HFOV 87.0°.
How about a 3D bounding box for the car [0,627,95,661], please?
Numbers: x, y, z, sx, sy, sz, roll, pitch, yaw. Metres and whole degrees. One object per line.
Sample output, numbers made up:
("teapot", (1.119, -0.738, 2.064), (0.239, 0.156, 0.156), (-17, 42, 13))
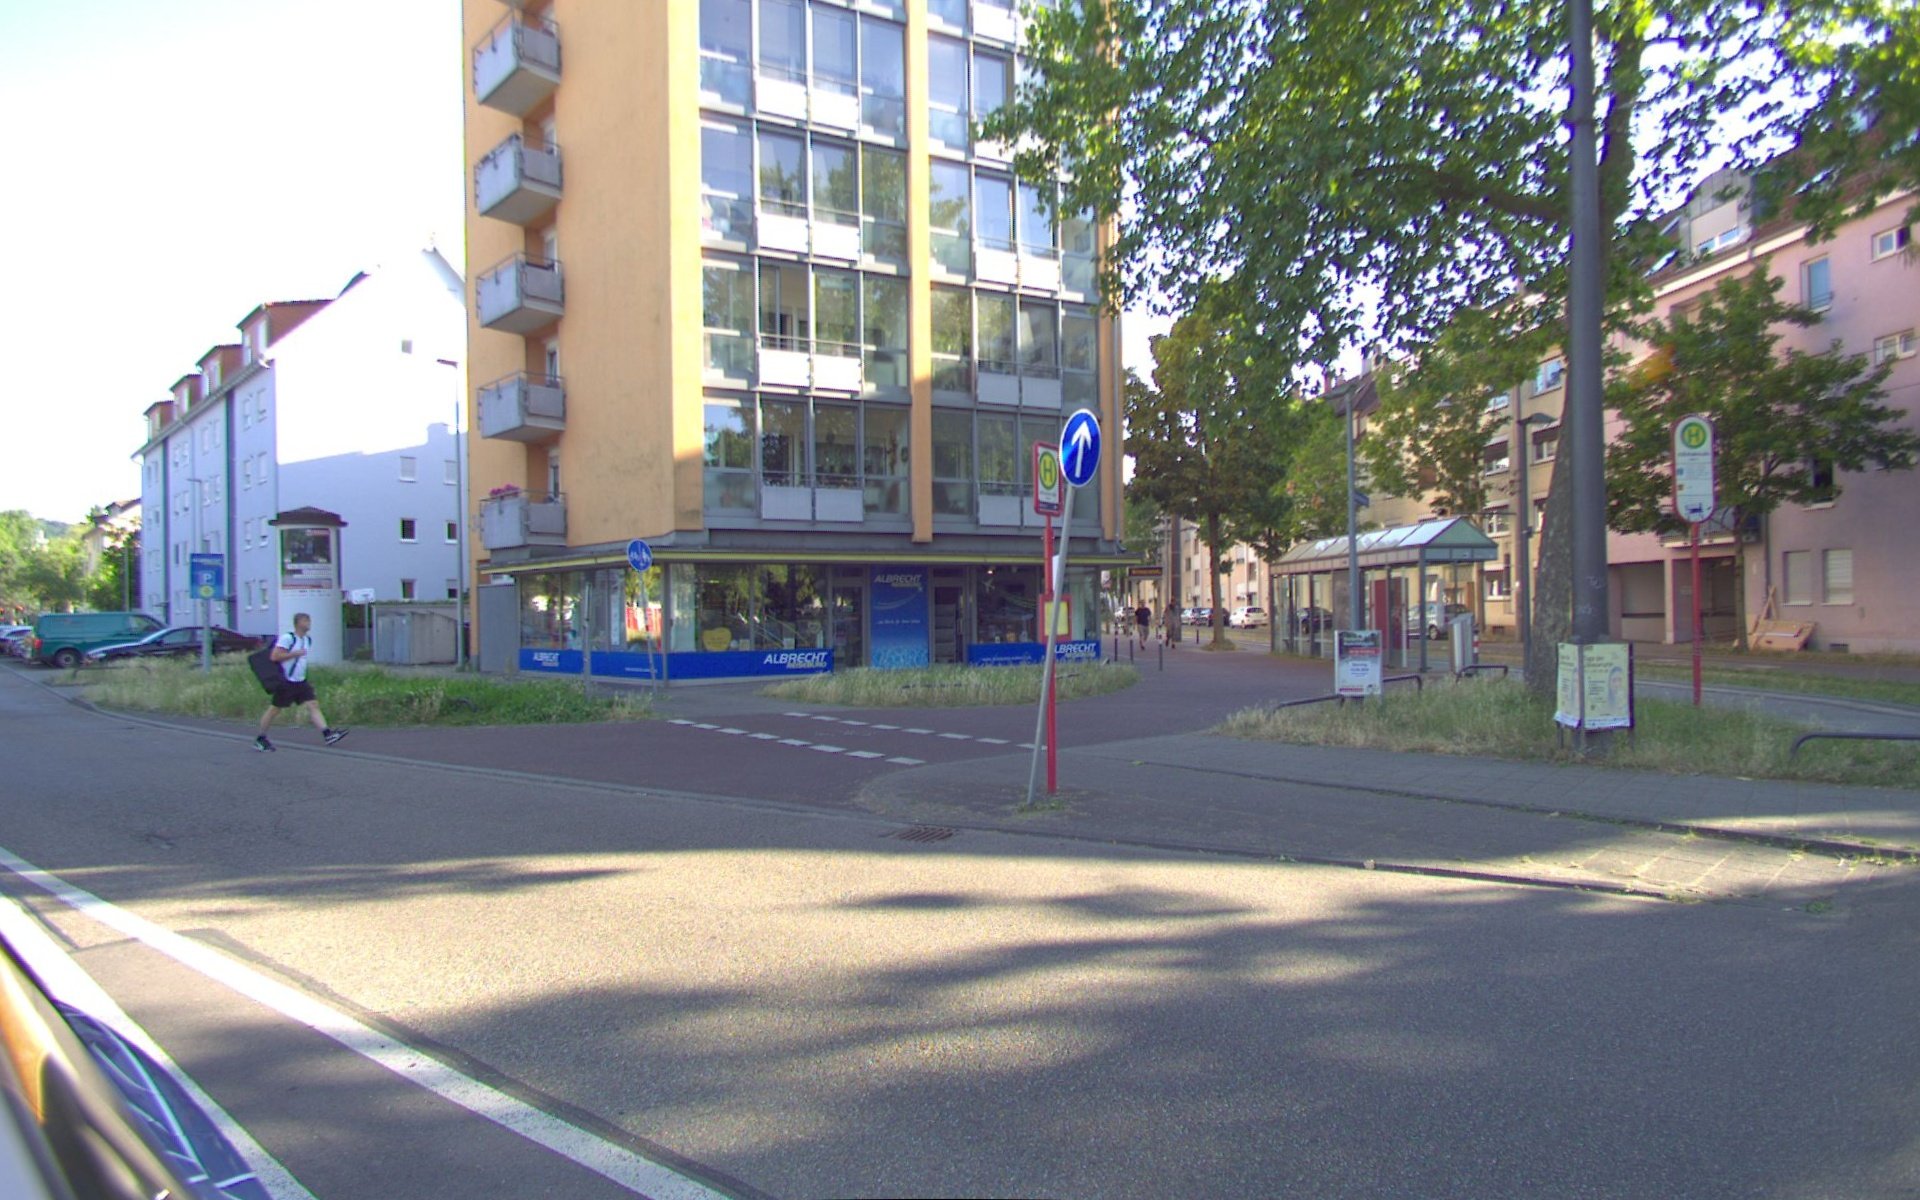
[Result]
("car", (-48.119, 2.279, 52.958), (4.199, 1.585, 1.867), (-1, 0, -44))

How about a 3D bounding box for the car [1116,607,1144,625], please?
("car", (17.737, 1.637, 105.545), (1.911, 1.719, 4.372), (-1, 0, -3))

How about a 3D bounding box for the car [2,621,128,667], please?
("car", (-38.826, 1.869, 43.930), (4.016, 1.765, 1.900), (-1, 0, -44))

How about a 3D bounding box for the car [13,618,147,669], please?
("car", (-35.119, 1.678, 40.434), (3.941, 1.829, 2.001), (-1, 0, -44))

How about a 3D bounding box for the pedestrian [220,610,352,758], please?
("pedestrian", (-8.367, 1.004, 12.581), (1.080, 1.750, 0.897), (-1, 0, 19))

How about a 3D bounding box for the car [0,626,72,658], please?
("car", (-55.791, 2.477, 60.436), (4.016, 1.765, 1.900), (-1, 0, -44))

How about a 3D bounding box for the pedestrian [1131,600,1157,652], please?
("pedestrian", (6.302, 0.885, 34.747), (0.803, 1.763, 0.538), (-1, 0, 6))

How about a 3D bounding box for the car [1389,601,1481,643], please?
("car", (20.747, 0.908, 44.431), (1.911, 1.719, 4.115), (-1, 0, -3))

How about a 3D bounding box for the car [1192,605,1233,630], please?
("car", (18.706, 1.267, 75.156), (1.808, 1.719, 4.059), (-1, 0, -3))

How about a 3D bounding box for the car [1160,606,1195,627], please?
("car", (18.433, 1.393, 85.800), (1.830, 1.719, 4.170), (-1, 0, -3))

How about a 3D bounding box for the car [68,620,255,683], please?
("car", (-24.271, 1.512, 30.866), (4.361, 1.674, 2.003), (-1, 0, -41))

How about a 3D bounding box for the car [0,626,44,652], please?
("car", (-63.494, 2.609, 66.995), (4.199, 1.585, 1.867), (-1, 0, -44))

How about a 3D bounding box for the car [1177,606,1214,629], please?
("car", (18.644, 1.351, 80.346), (1.771, 1.719, 4.170), (-1, 0, -3))

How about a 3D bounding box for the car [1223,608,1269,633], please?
("car", (19.173, 1.347, 68.051), (1.741, 1.588, 4.049), (-1, 0, -3))

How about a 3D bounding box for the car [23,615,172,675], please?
("car", (-31.214, 1.561, 36.688), (2.001, 1.962, 3.942), (-1, 0, 44))

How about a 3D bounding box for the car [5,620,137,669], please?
("car", (-36.857, 1.811, 42.012), (4.003, 1.829, 1.938), (-1, 0, -44))

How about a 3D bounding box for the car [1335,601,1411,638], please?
("car", (19.907, 0.919, 48.986), (1.911, 1.719, 3.827), (-1, 0, -3))

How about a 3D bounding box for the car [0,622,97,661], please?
("car", (-46.116, 2.042, 50.867), (4.061, 1.785, 1.758), (-1, 0, -44))

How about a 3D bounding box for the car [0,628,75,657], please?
("car", (-55.658, 2.507, 60.382), (4.199, 1.585, 1.867), (-1, 0, -44))

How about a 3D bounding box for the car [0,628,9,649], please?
("car", (-74.757, 2.993, 76.964), (3.490, 1.585, 1.867), (-1, 0, -44))

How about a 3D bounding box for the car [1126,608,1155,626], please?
("car", (17.786, 1.637, 99.872), (1.911, 1.719, 4.003), (-1, 0, -3))

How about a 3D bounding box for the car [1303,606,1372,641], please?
("car", (19.918, 1.203, 53.599), (1.911, 1.719, 4.115), (-1, 0, -3))

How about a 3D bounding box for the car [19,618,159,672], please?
("car", (-33.119, 1.652, 38.532), (3.941, 1.829, 2.001), (-1, 0, -44))

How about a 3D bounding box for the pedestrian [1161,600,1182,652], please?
("pedestrian", (7.223, 0.873, 34.596), (0.622, 1.763, 0.689), (-1, 0, 6))
